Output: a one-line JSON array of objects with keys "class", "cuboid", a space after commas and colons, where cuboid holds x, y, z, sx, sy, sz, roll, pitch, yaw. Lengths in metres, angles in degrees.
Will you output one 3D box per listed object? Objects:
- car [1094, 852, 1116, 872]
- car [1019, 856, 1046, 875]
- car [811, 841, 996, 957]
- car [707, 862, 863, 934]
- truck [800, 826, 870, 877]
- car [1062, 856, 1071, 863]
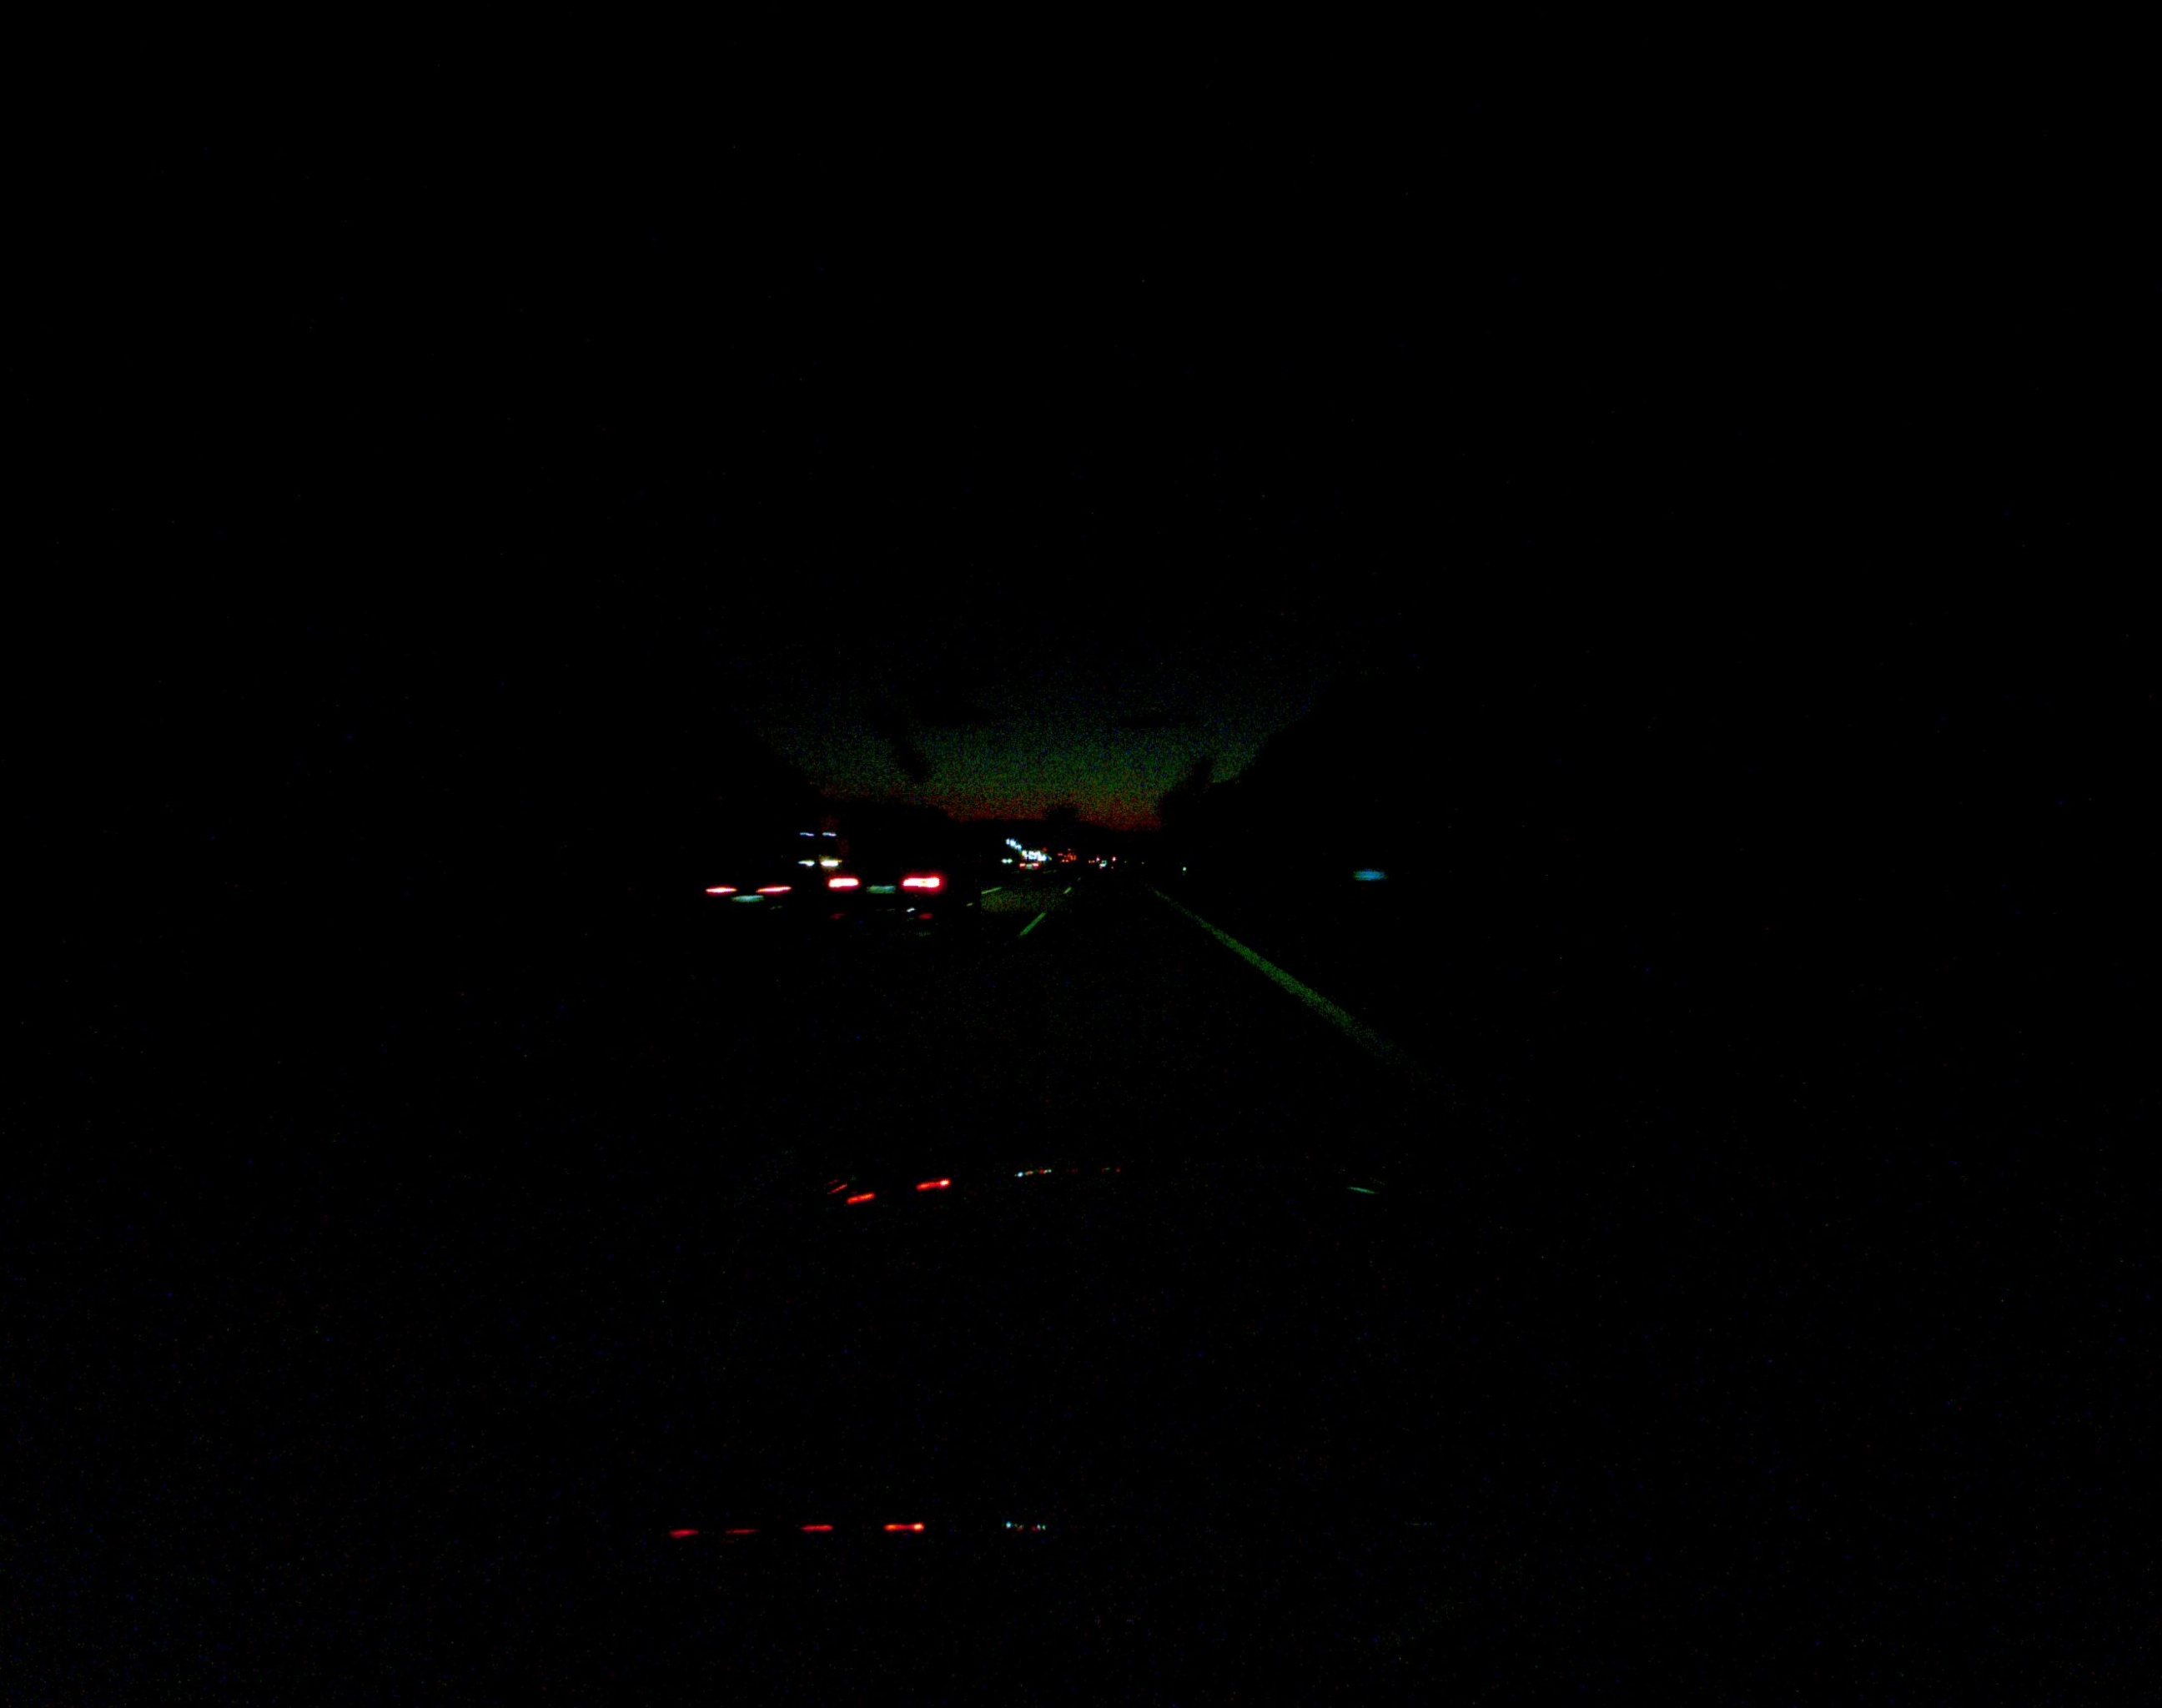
[{"class": "car", "cuboid": [2.488, 0.762, 83.753, 2.188, 1.955, 4.765, -1, 1, 1]}, {"class": "car", "cuboid": [-4.334, 0.999, 73.485, 1.772, 1.486, 5.257, 2, 1, 3]}, {"class": "car", "cuboid": [-3.028, 0.710, 15.412, 1.986, 1.721, 5.944, -2, -1, 2]}, {"class": "car", "cuboid": [-6.705, 0.915, 19.165, 1.544, 1.431, 5.515, -1, -1, 1]}, {"class": "truck", "cuboid": [-19.894, -0.192, 66.489, 2.509, 3.851, 9.070, 0, 0, 2]}, {"class": "car", "cuboid": [-4.215, 1.734, 242.071, 2.188, 1.955, 4.636, 2, 1, 2]}]
